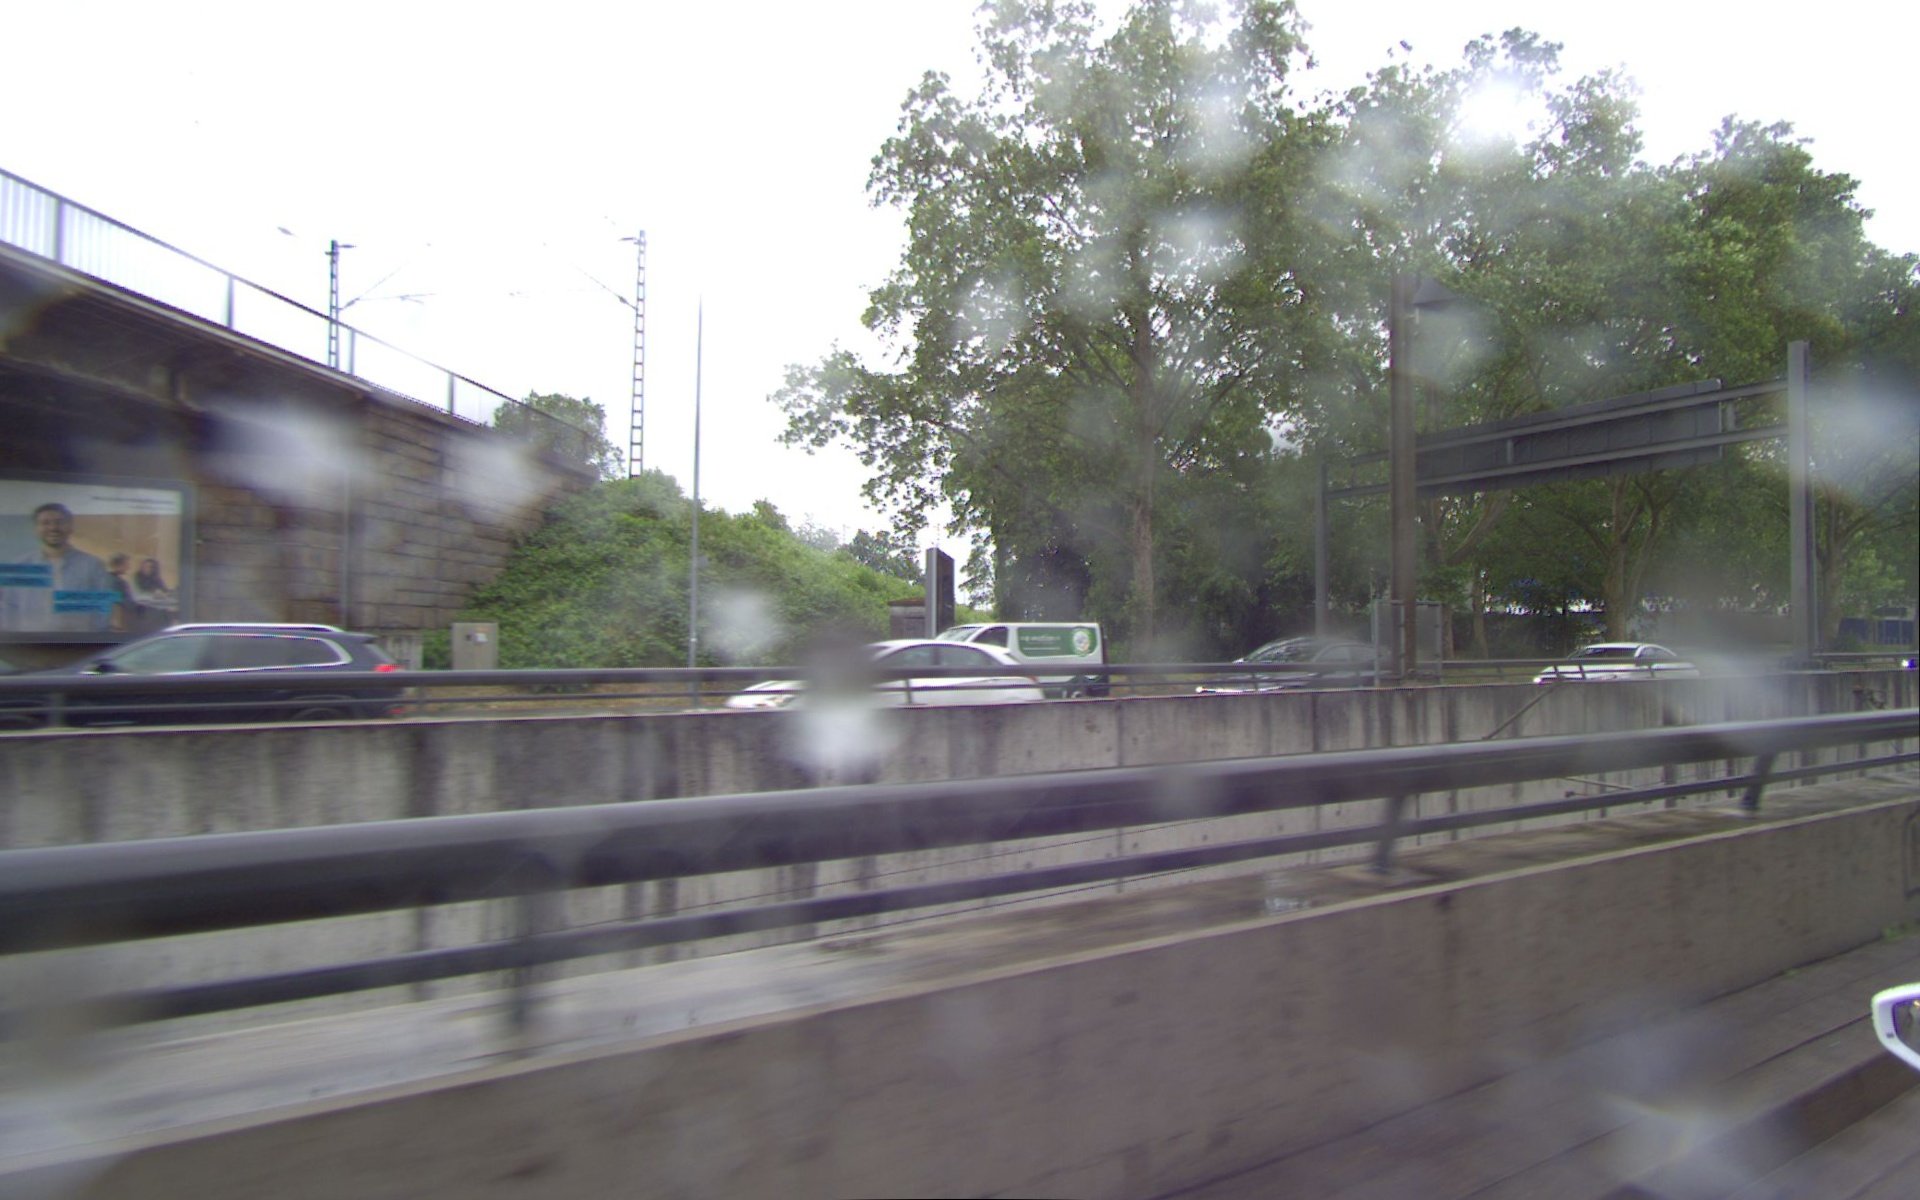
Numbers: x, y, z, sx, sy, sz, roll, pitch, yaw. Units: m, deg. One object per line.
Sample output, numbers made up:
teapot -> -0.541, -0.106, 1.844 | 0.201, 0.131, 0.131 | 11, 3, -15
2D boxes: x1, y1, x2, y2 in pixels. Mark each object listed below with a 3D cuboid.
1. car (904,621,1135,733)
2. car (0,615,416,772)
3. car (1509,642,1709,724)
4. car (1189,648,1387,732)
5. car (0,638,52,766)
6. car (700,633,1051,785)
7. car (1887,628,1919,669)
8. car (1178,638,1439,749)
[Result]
car -> 1.328, 1.600, 21.593 | 4.790, 2.198, 1.746 | 2, -3, -30
car -> -9.034, 1.032, 11.811 | 4.556, 1.594, 1.970 | 2, -3, -30
car -> 14.455, 1.773, 22.332 | 4.529, 1.653, 1.983 | 2, -3, -32
car -> 7.105, 1.875, 21.689 | 4.039, 1.653, 1.840 | 2, -3, -29
car -> -14.343, 1.247, 12.365 | 4.328, 1.594, 1.857 | 2, -3, -30
car -> -1.040, 1.274, 12.892 | 4.043, 1.653, 1.983 | 2, -3, -32
car -> 38.983, 1.929, 39.993 | 3.951, 1.592, 1.899 | 1, -2, -29
car -> 5.884, 1.491, 16.923 | 4.039, 1.653, 1.985 | 2, -3, -29
